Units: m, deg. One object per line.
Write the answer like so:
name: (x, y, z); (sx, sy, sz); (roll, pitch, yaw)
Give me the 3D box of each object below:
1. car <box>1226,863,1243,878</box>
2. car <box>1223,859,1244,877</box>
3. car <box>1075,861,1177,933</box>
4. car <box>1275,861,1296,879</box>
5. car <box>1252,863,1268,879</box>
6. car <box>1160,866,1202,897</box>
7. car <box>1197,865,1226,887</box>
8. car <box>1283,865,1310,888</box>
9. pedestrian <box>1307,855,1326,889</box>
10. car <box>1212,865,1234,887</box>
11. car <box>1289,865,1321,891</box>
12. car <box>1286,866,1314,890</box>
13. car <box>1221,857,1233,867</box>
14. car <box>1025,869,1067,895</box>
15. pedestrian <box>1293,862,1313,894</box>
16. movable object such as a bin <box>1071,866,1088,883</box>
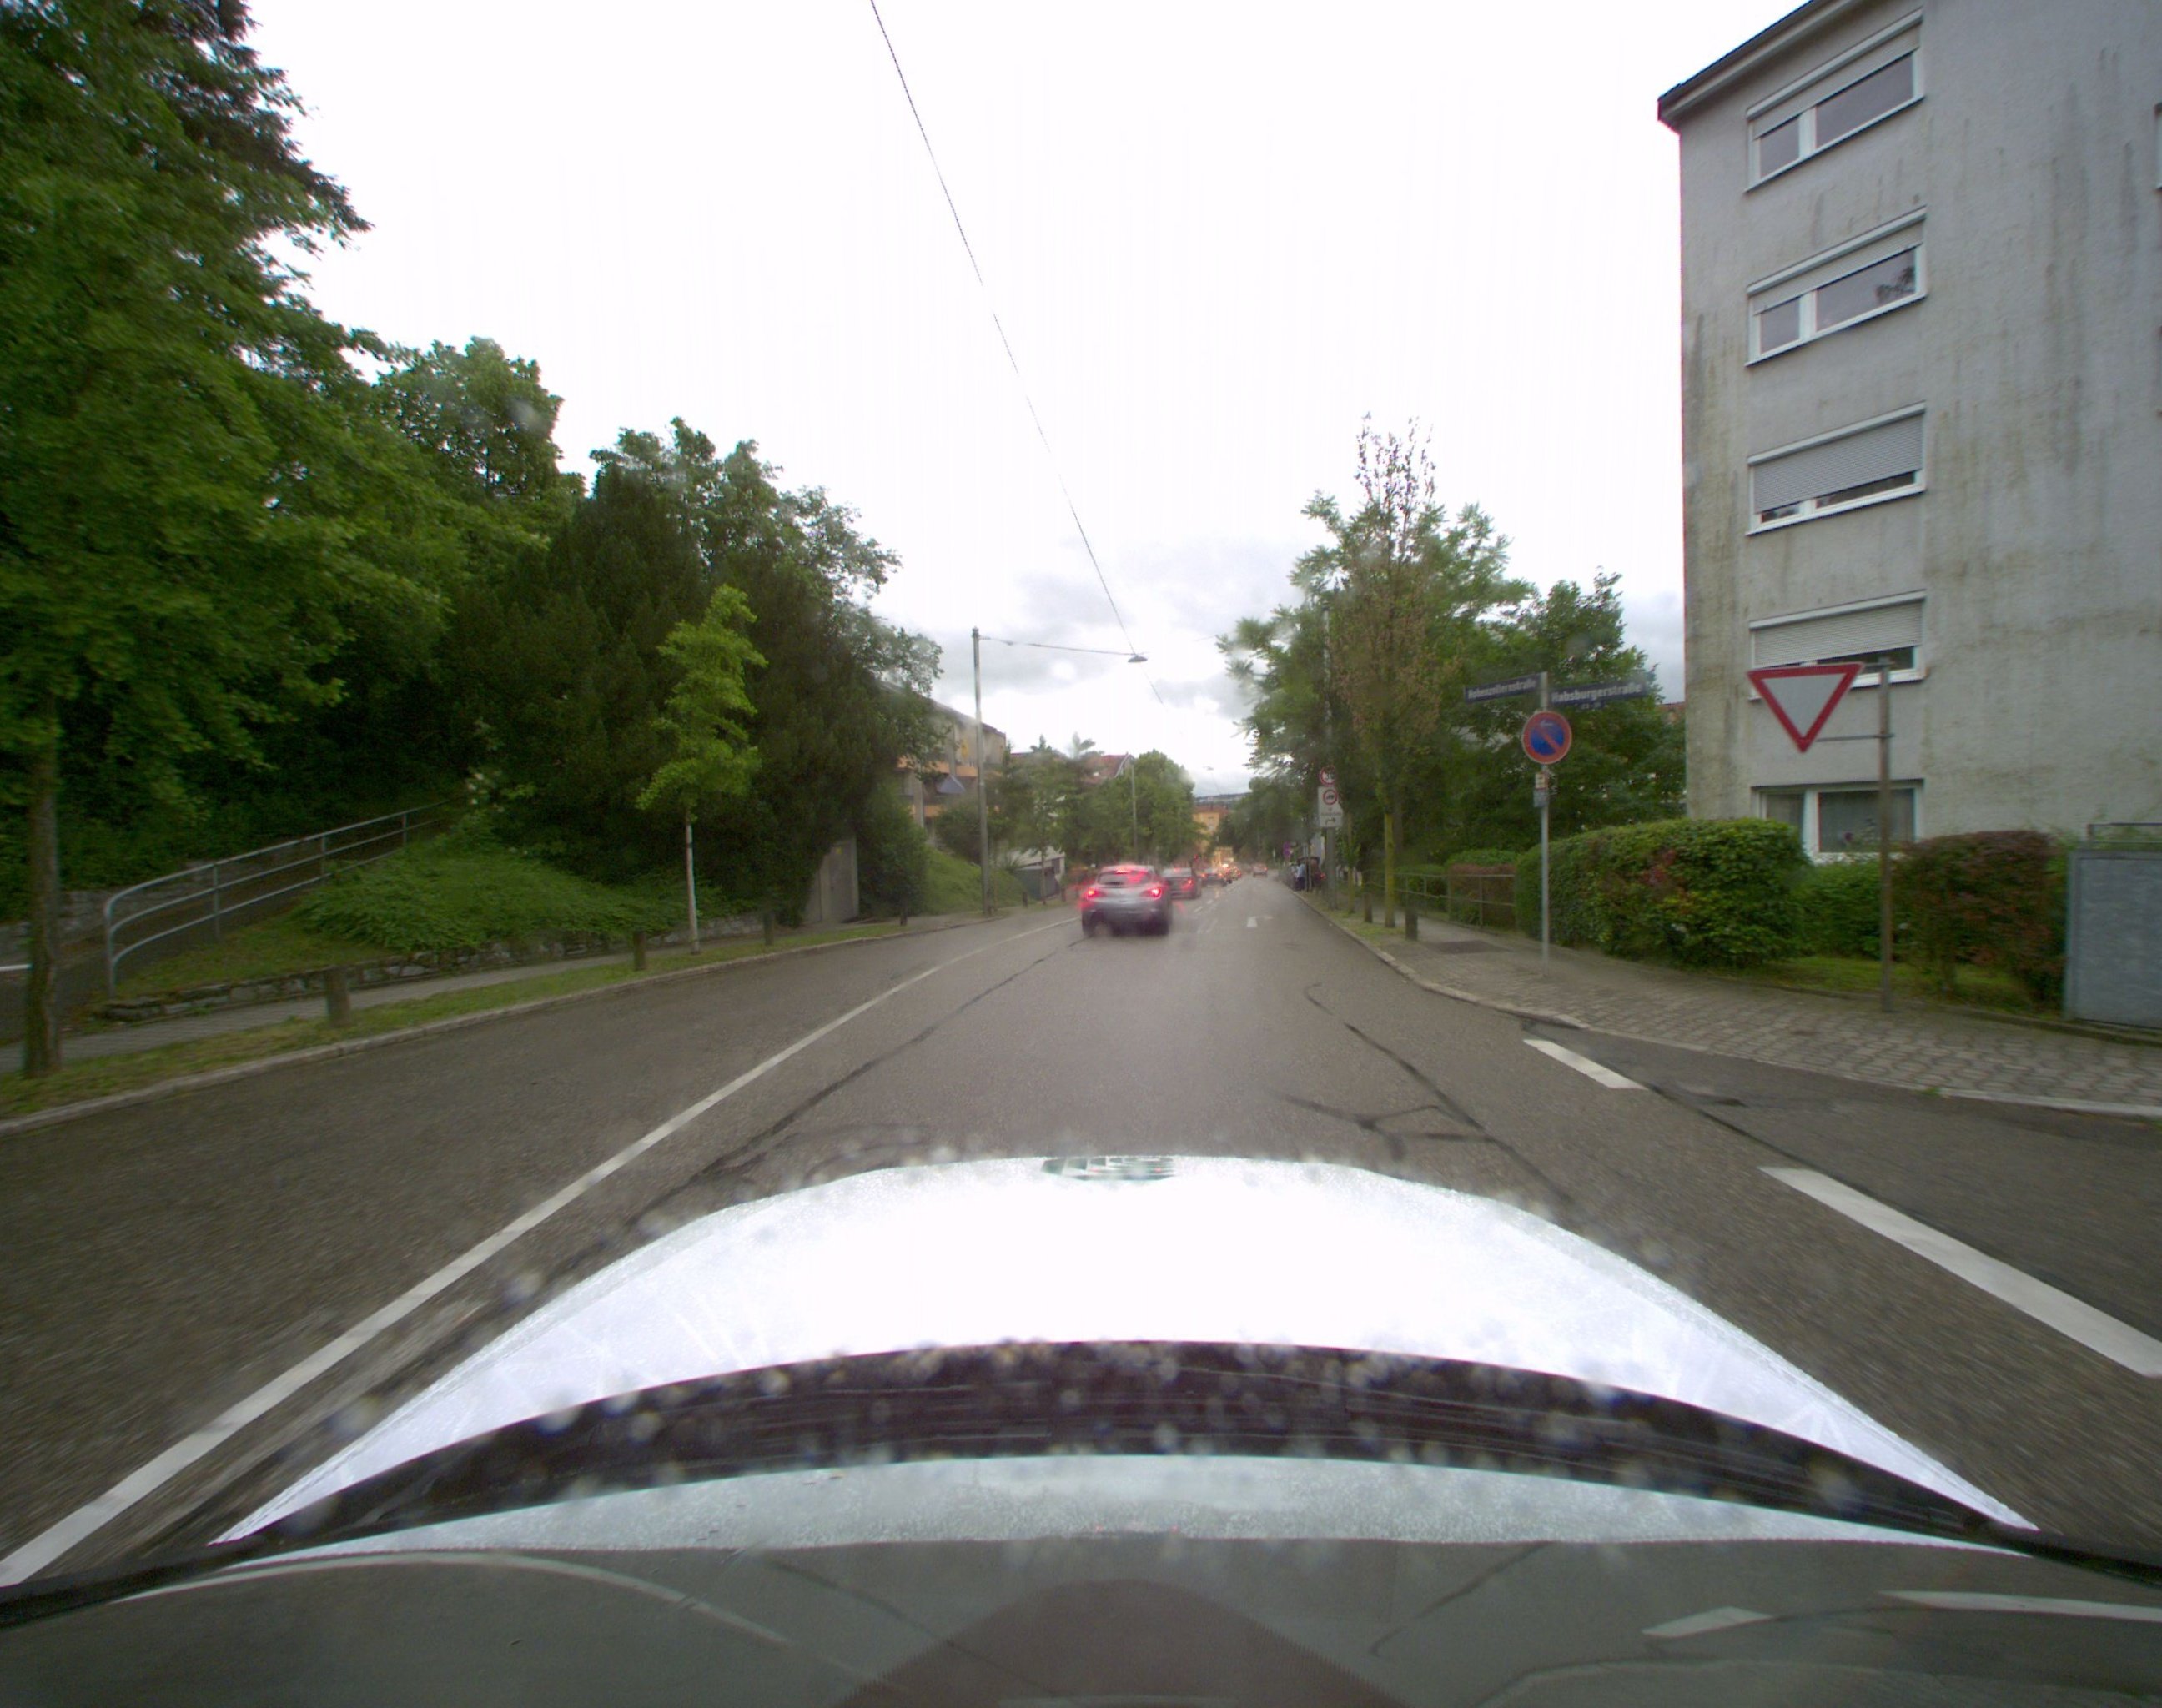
car: (16.898, 1.824, 89.427); (1.743, 1.651, 4.011); (1, -1, 11)
car: (18.666, 1.660, 99.662); (2.318, 2.036, 4.751); (1, 0, 13)
car: (1.125, 0.927, 18.409); (1.934, 1.432, 3.892); (-1, -2, 8)
car: (20.191, 1.568, 80.568); (1.893, 1.571, 4.014); (-3, -1, 13)
car: (23.717, 2.232, 107.581); (1.980, 2.036, 4.751); (1, 0, 13)
car: (4.550, 1.218, 37.120); (1.788, 1.323, 4.008); (0, 0, 7)
car: (9.524, 1.592, 59.107); (1.948, 1.472, 3.962); (1, 0, 11)
car: (15.444, 1.592, 58.438); (1.674, 1.571, 4.014); (-3, -1, 13)
pedestrian: (13.259, 1.003, 45.811); (0.680, 1.836, 0.670); (-5, -2, 38)
car: (12.365, 1.846, 70.825); (1.757, 1.781, 3.988); (1, 0, 11)
car: (13.199, 1.408, 48.206); (1.494, 1.435, 4.012); (-3, -2, 11)
car: (14.435, 1.548, 53.819); (1.669, 1.464, 4.014); (-3, -1, 13)
car: (27.441, 1.508, 152.961); (1.980, 1.784, 4.014); (1, 0, 13)
car: (-2.158, 1.747, 51.000); (1.731, 1.457, 3.894); (-5, -2, 10)
pedestrian: (12.539, 1.347, 46.007); (0.735, 1.724, 0.762); (-3, -2, -13)
movable object such as a bin: (-0.091, 1.602, 63.699); (1.264, 1.387, 0.490); (0, -1, 10)
